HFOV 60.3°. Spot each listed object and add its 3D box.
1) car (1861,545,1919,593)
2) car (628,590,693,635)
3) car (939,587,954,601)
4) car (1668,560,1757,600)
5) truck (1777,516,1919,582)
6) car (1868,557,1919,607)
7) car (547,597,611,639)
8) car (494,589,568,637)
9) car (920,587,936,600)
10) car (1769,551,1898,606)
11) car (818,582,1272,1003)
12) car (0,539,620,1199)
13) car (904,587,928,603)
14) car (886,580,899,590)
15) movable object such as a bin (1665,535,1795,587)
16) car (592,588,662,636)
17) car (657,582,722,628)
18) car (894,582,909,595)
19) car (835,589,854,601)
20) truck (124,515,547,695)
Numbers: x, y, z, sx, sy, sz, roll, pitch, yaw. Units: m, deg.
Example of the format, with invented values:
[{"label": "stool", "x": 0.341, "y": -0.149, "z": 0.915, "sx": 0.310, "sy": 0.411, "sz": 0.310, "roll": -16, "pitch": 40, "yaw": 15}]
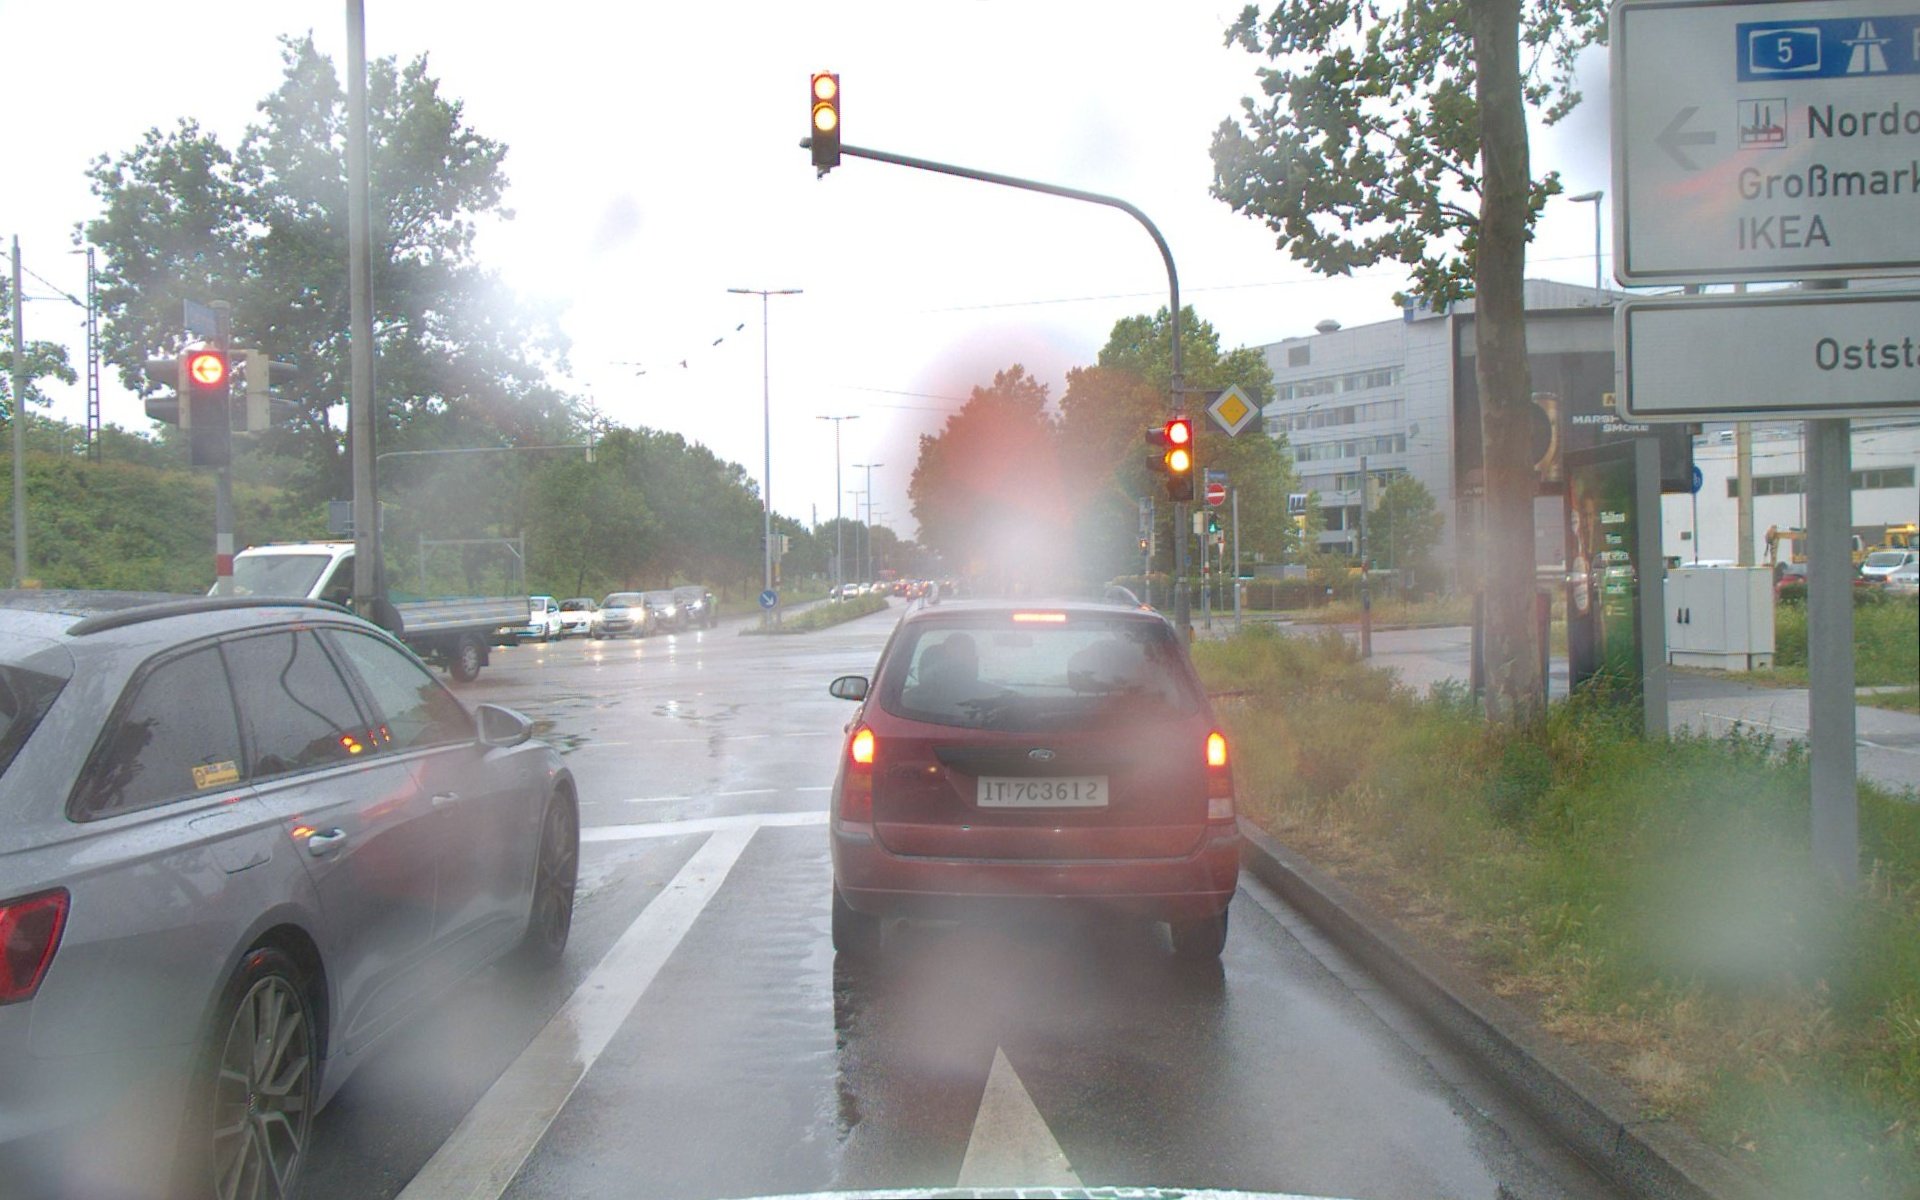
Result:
[{"label": "car", "x": 44.294, "y": -1.463, "z": 77.488, "sx": 4.641, "sy": 2.162, "sz": 1.973, "roll": -1, "pitch": 0, "yaw": -38}, {"label": "car", "x": -11.364, "y": 0.472, "z": 63.075, "sx": 1.727, "sy": 1.614, "sz": 4.811, "roll": -2, "pitch": 0, "yaw": -2}, {"label": "car", "x": -1.589, "y": -0.736, "z": 193.556, "sx": 1.636, "sy": 1.554, "sz": 3.846, "roll": -1, "pitch": 0, "yaw": 1}, {"label": "car", "x": 34.260, "y": -0.909, "z": 75.263, "sx": 4.190, "sy": 1.756, "sz": 1.722, "roll": 0, "pitch": 0, "yaw": -33}, {"label": "truck", "x": 52.798, "y": -2.949, "z": 97.363, "sx": 3.292, "sy": 3.568, "sz": 7.789, "roll": -2, "pitch": 0, "yaw": -36}, {"label": "car", "x": 30.820, "y": -0.592, "z": 52.202, "sx": 4.774, "sy": 1.517, "sz": 1.904, "roll": -1, "pitch": 0, "yaw": -35}, {"label": "car", "x": -14.068, "y": 0.633, "z": 61.213, "sx": 1.558, "sy": 1.428, "sz": 3.822, "roll": -2, "pitch": 1, "yaw": -2}, {"label": "car", "x": -14.167, "y": 0.399, "z": 54.825, "sx": 1.605, "sy": 1.478, "sz": 3.785, "roll": -2, "pitch": 1, "yaw": -3}, {"label": "car", "x": -3.757, "y": -0.751, "z": 194.112, "sx": 1.663, "sy": 1.554, "sz": 3.846, "roll": -1, "pitch": 0, "yaw": 0}, {"label": "car", "x": 25.064, "y": -0.618, "z": 47.436, "sx": 3.768, "sy": 1.517, "sz": 1.660, "roll": 0, "pitch": 0, "yaw": -33}, {"label": "car", "x": 0.254, "y": 0.677, "z": 7.798, "sx": 1.609, "sy": 1.490, "sz": 3.731, "roll": 1, "pitch": 0, "yaw": -2}, {"label": "car", "x": -2.300, "y": 0.673, "z": 4.827, "sx": 1.733, "sy": 1.601, "sz": 4.819, "roll": 1, "pitch": 0, "yaw": -2}, {"label": "car", "x": -4.444, "y": -0.502, "z": 167.626, "sx": 2.103, "sy": 1.554, "sz": 4.193, "roll": -1, "pitch": 0, "yaw": 1}, {"label": "car", "x": -10.000, "y": -2.206, "z": 244.752, "sx": 1.663, "sy": 1.554, "sz": 3.846, "roll": -1, "pitch": 0, "yaw": 1}, {"label": "movable object such as a bin", "x": 48.344, "y": -2.423, "z": 103.975, "sx": 3.292, "sy": 3.048, "sz": 6.634, "roll": -2, "pitch": 0, "yaw": -36}, {"label": "car", "x": -11.232, "y": 0.369, "z": 55.975, "sx": 1.605, "sy": 1.499, "sz": 3.964, "roll": -2, "pitch": 1, "yaw": -1}, {"label": "car", "x": -11.600, "y": 0.186, "z": 71.338, "sx": 2.024, "sy": 1.851, "sz": 5.539, "roll": -2, "pitch": 1, "yaw": -2}, {"label": "car", "x": -7.161, "y": -1.379, "z": 202.278, "sx": 1.663, "sy": 1.554, "sz": 3.846, "roll": -1, "pitch": 0, "yaw": 1}, {"label": "car", "x": -14.624, "y": -0.653, "z": 209.565, "sx": 2.050, "sy": 1.554, "sz": 4.193, "roll": -1, "pitch": 0, "yaw": 2}, {"label": "truck", "x": -9.346, "y": 0.041, "z": 25.733, "sx": 2.422, "sy": 2.406, "sz": 6.872, "roll": -1, "pitch": 0, "yaw": 17}]
